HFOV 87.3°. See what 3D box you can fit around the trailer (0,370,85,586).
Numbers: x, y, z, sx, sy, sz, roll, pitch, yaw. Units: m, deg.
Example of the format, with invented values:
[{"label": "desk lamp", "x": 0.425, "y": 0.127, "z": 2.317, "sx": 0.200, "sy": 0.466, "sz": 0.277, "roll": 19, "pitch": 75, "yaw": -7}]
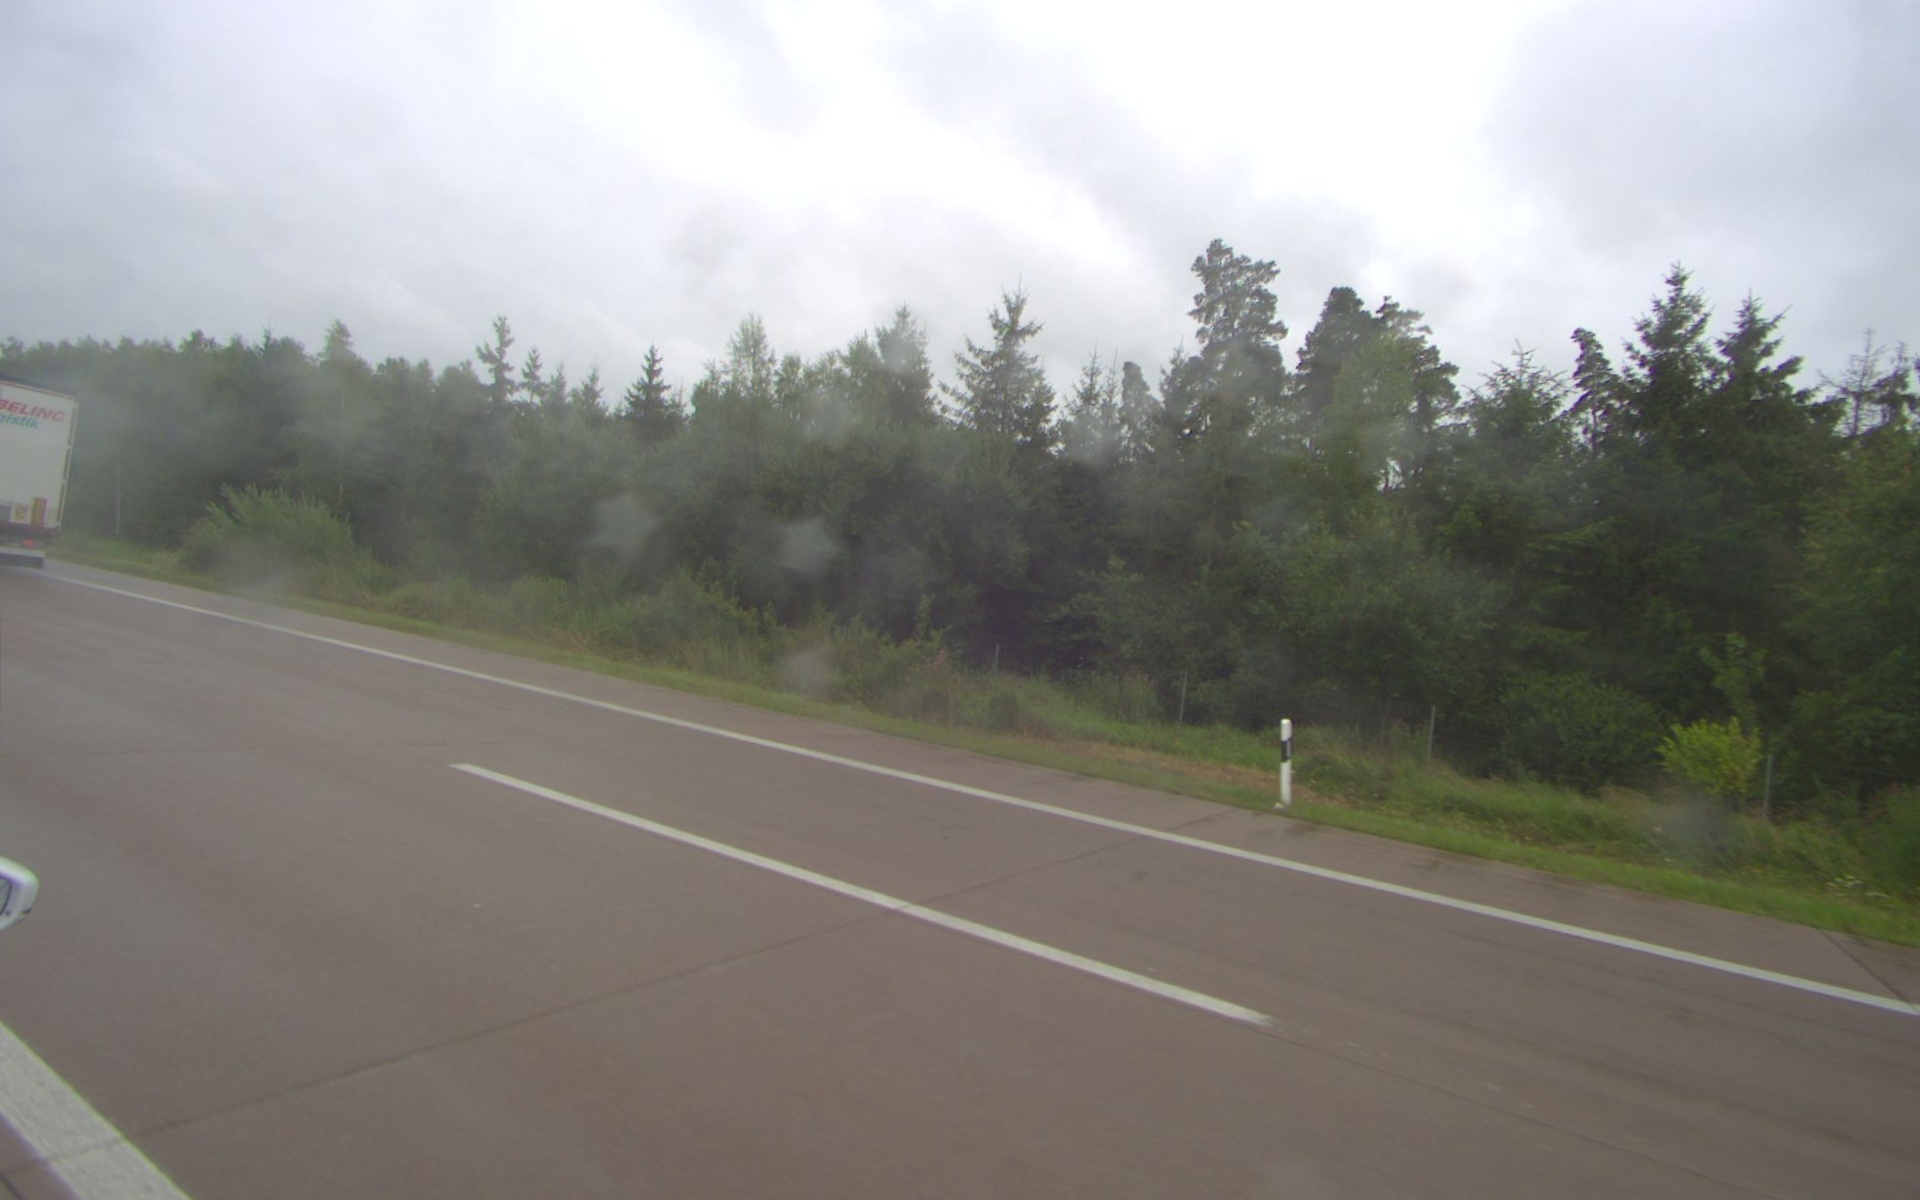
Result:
[{"label": "trailer", "x": -25.098, "y": -3.202, "z": 23.623, "sx": 12.911, "sy": 4.285, "sz": 2.855, "roll": 7, "pitch": 1, "yaw": 31}]
